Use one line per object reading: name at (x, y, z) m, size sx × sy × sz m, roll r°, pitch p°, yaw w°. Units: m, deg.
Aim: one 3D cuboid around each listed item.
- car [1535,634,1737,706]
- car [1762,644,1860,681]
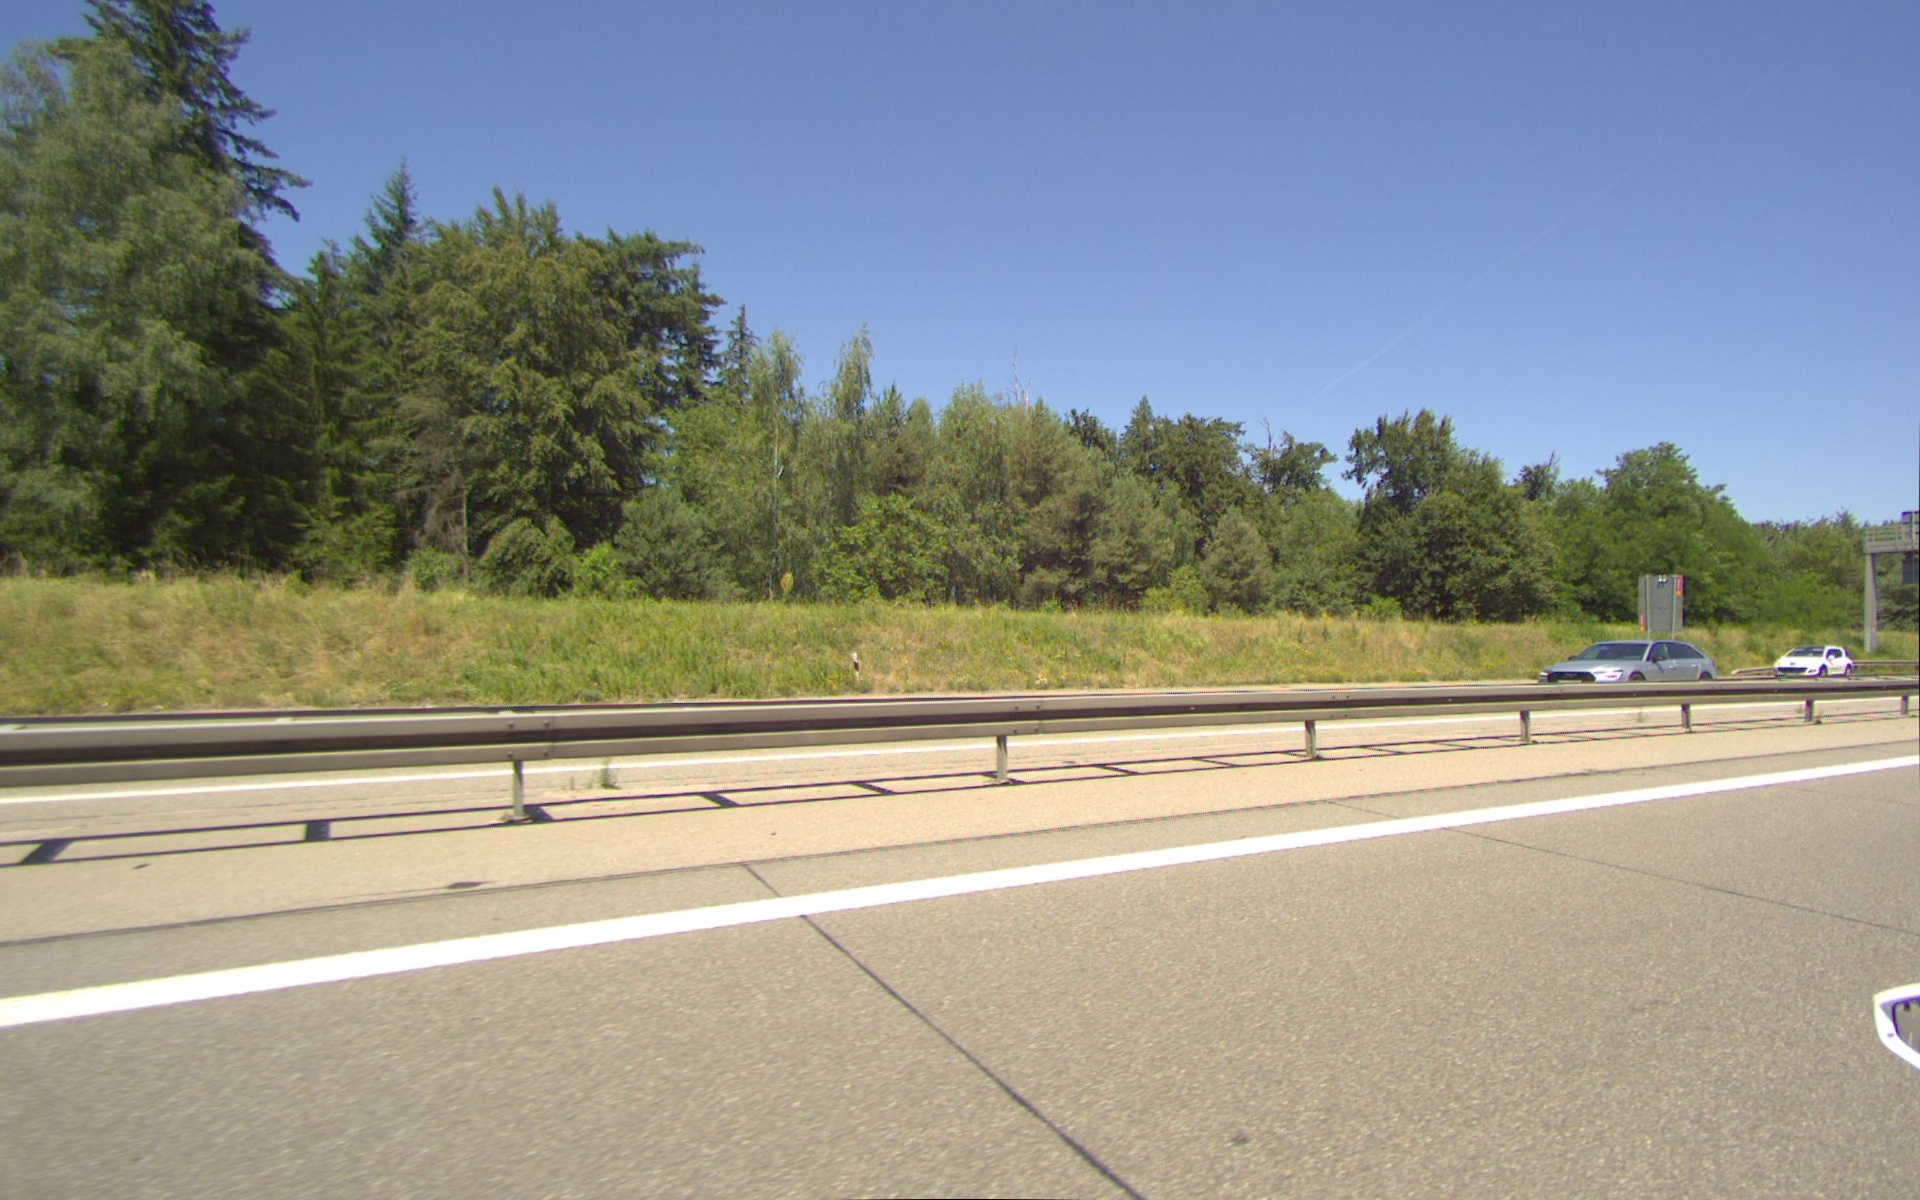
car at (15.295, 1.552, 22.669) m, size 4.927 × 1.493 × 1.786 m, roll 2°, pitch -4°, yaw -30°
car at (37.616, 2.751, 44.383) m, size 4.847 × 1.536 × 1.786 m, roll 2°, pitch -4°, yaw -31°
